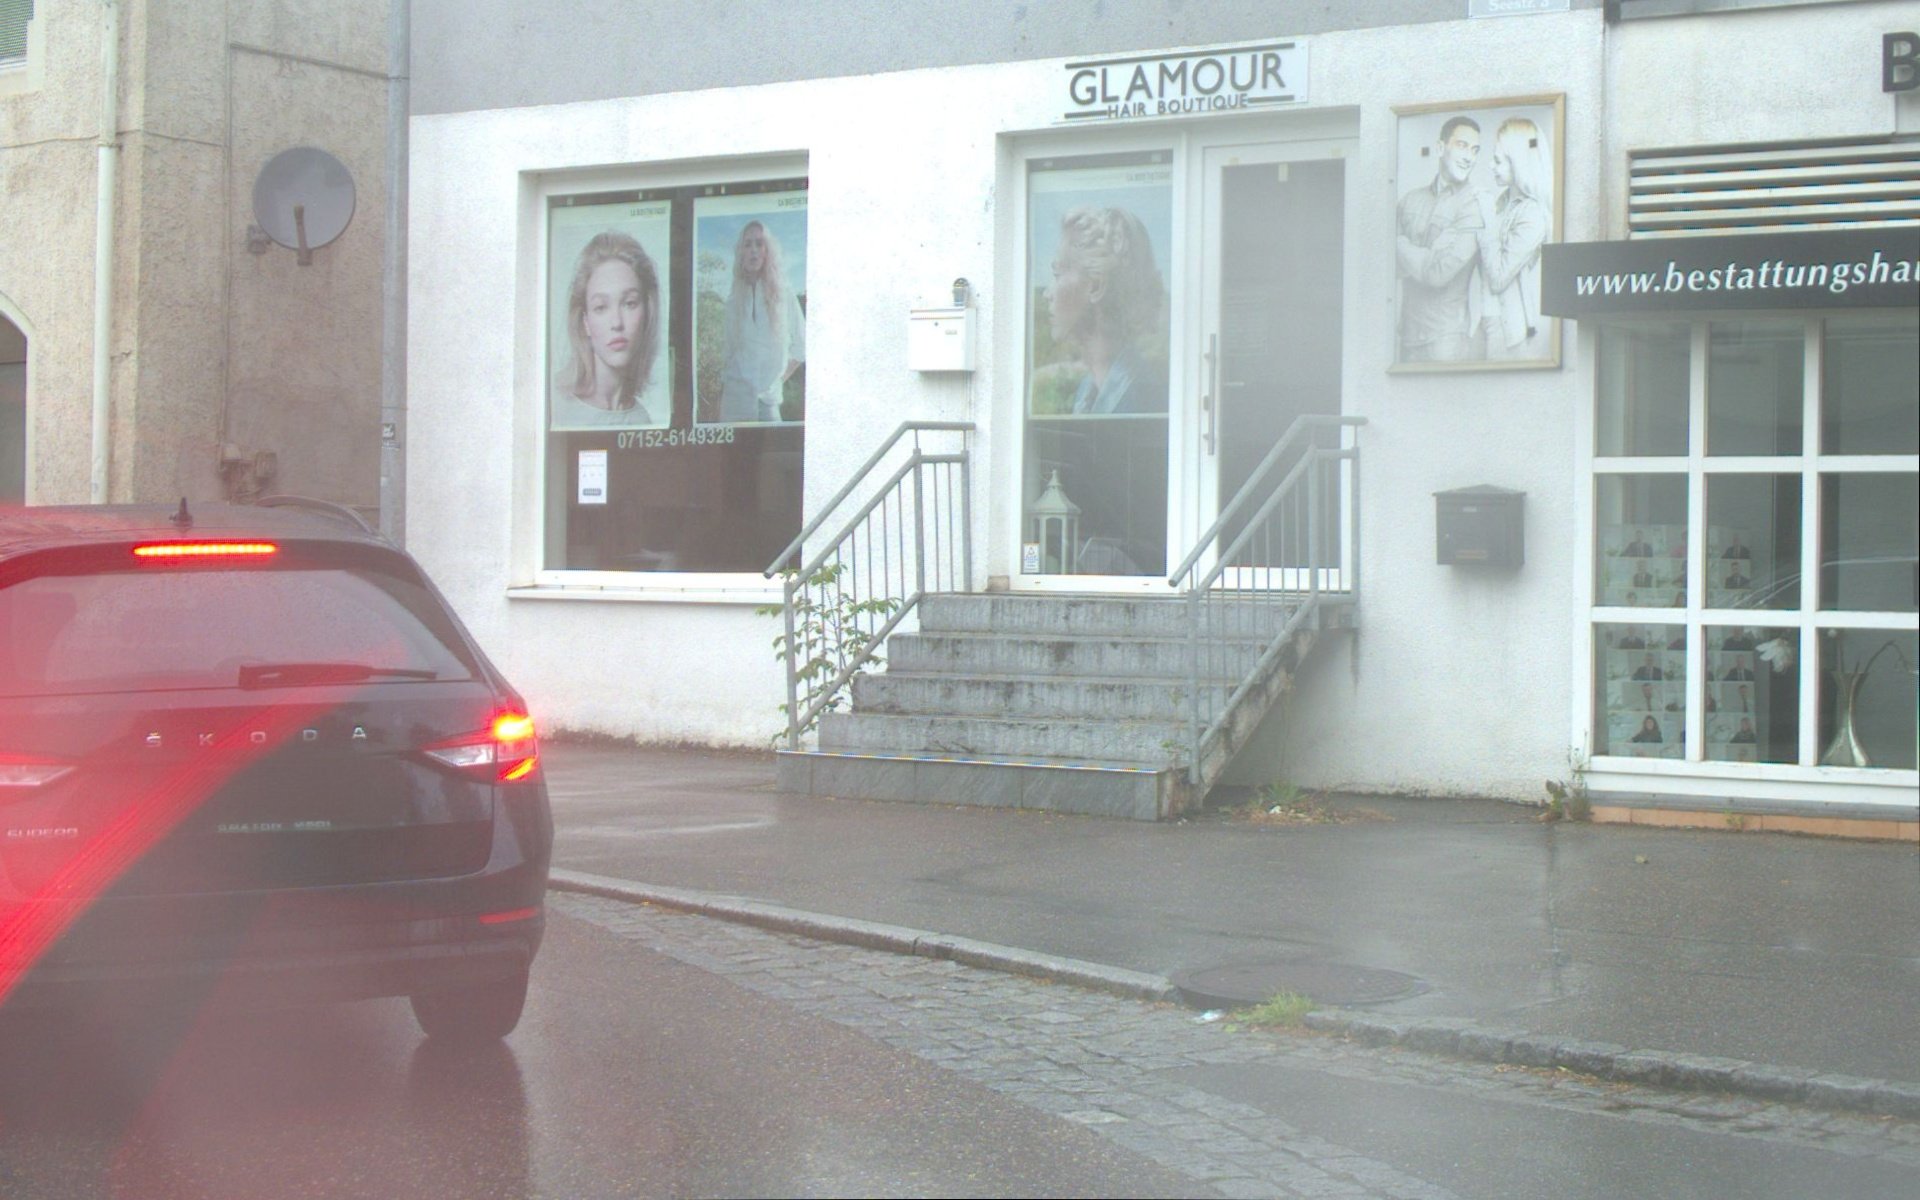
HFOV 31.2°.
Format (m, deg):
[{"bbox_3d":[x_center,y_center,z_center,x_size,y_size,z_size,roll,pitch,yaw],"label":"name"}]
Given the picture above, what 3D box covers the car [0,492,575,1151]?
[{"bbox_3d":[-2.560,0.443,10.003,1.732,1.445,4.243,-1,3,-23],"label":"car"}]
